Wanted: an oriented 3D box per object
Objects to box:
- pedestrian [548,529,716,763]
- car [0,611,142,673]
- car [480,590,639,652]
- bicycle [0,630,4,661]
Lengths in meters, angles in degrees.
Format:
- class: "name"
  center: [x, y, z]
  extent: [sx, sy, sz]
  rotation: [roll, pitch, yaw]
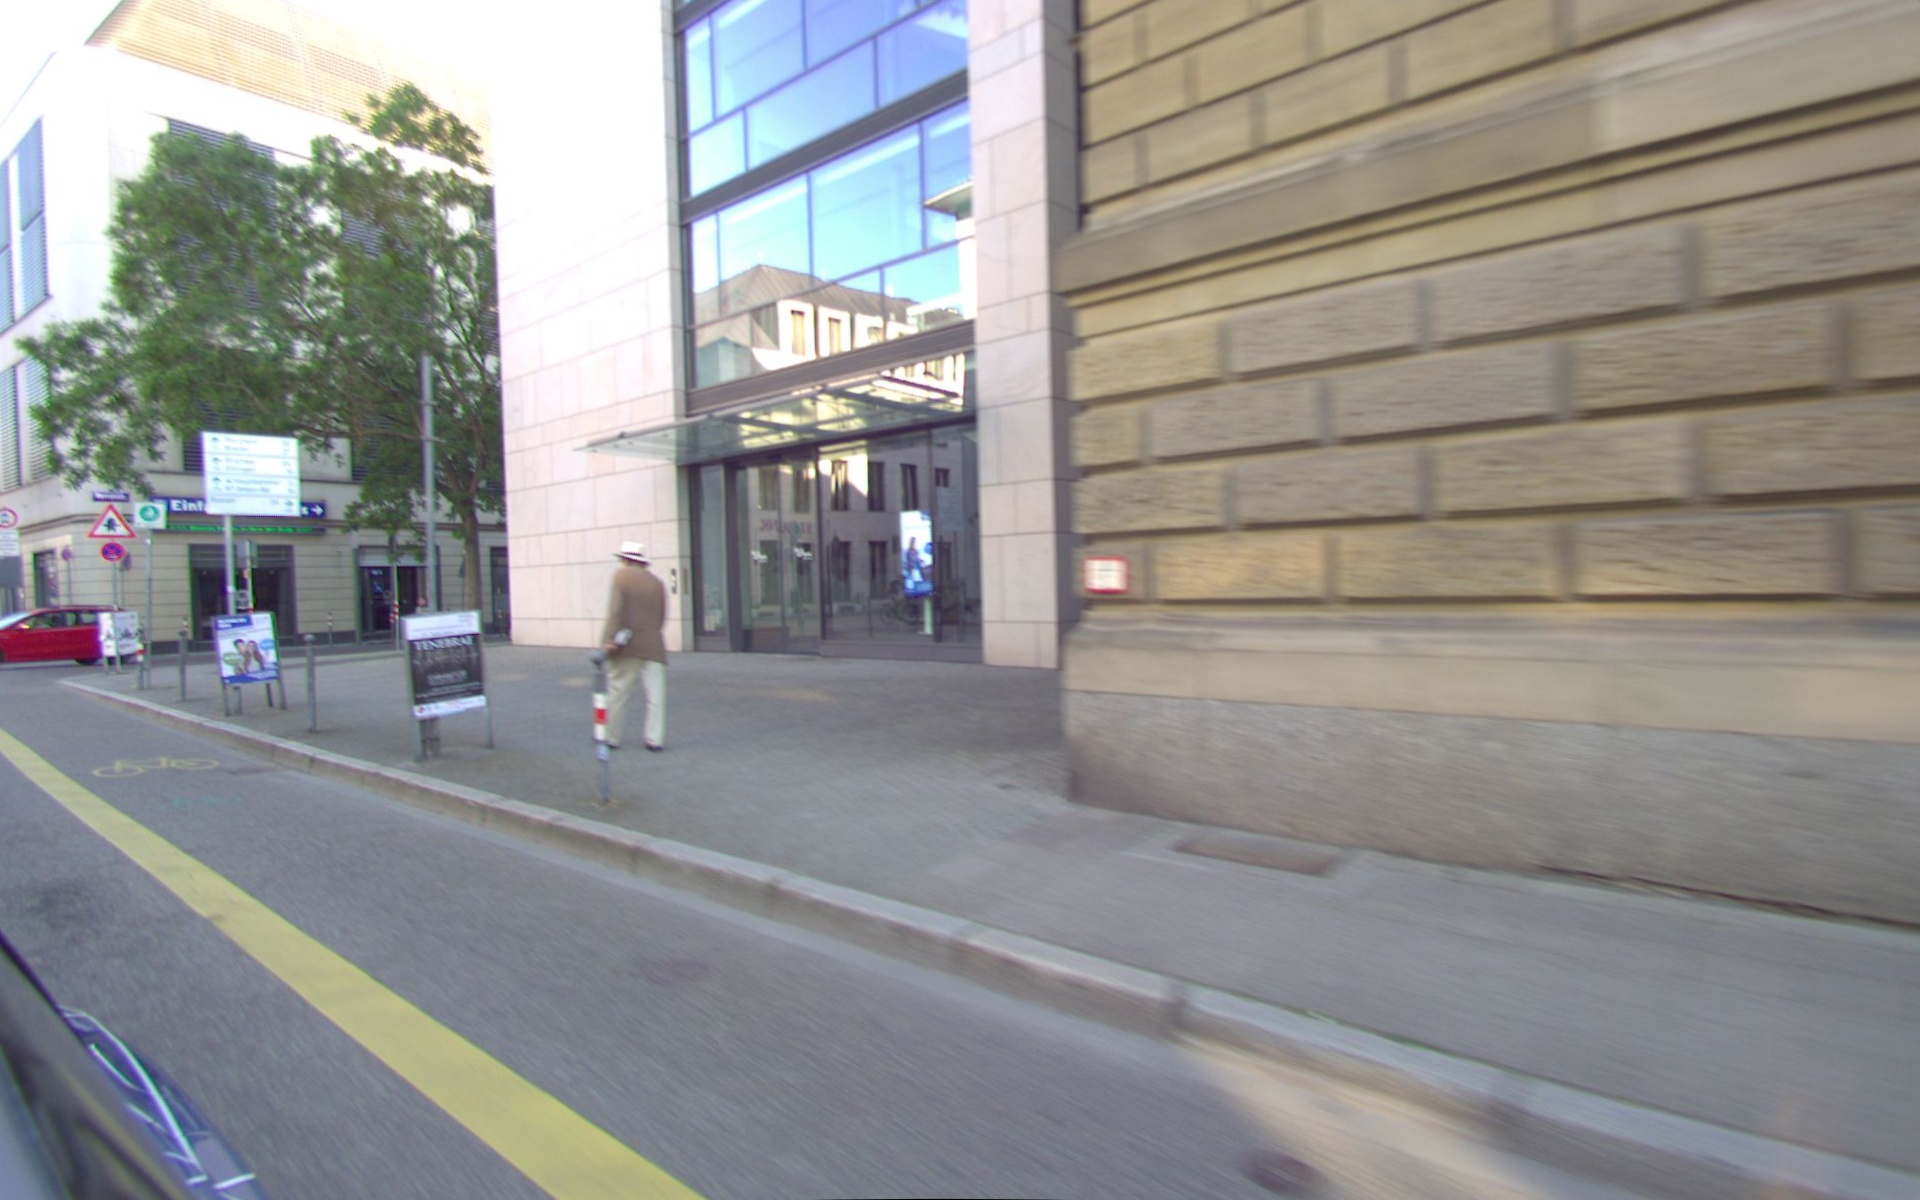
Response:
- class: "pedestrian"
  center: [-2.792, 0.346, 8.615]
  extent: [1.074, 1.813, 0.832]
  rotation: [0, 5, 44]
- class: "car"
  center: [-23.319, 1.020, 25.218]
  extent: [1.820, 1.476, 4.223]
  rotation: [-1, -1, 28]
- class: "car"
  center: [-12.111, 0.658, 30.460]
  extent: [5.008, 1.463, 1.977]
  rotation: [-6, -2, 35]
- class: "bicycle"
  center: [-32.626, 1.539, 33.384]
  extent: [1.494, 1.041, 0.354]
  rotation: [-3, 1, -33]
